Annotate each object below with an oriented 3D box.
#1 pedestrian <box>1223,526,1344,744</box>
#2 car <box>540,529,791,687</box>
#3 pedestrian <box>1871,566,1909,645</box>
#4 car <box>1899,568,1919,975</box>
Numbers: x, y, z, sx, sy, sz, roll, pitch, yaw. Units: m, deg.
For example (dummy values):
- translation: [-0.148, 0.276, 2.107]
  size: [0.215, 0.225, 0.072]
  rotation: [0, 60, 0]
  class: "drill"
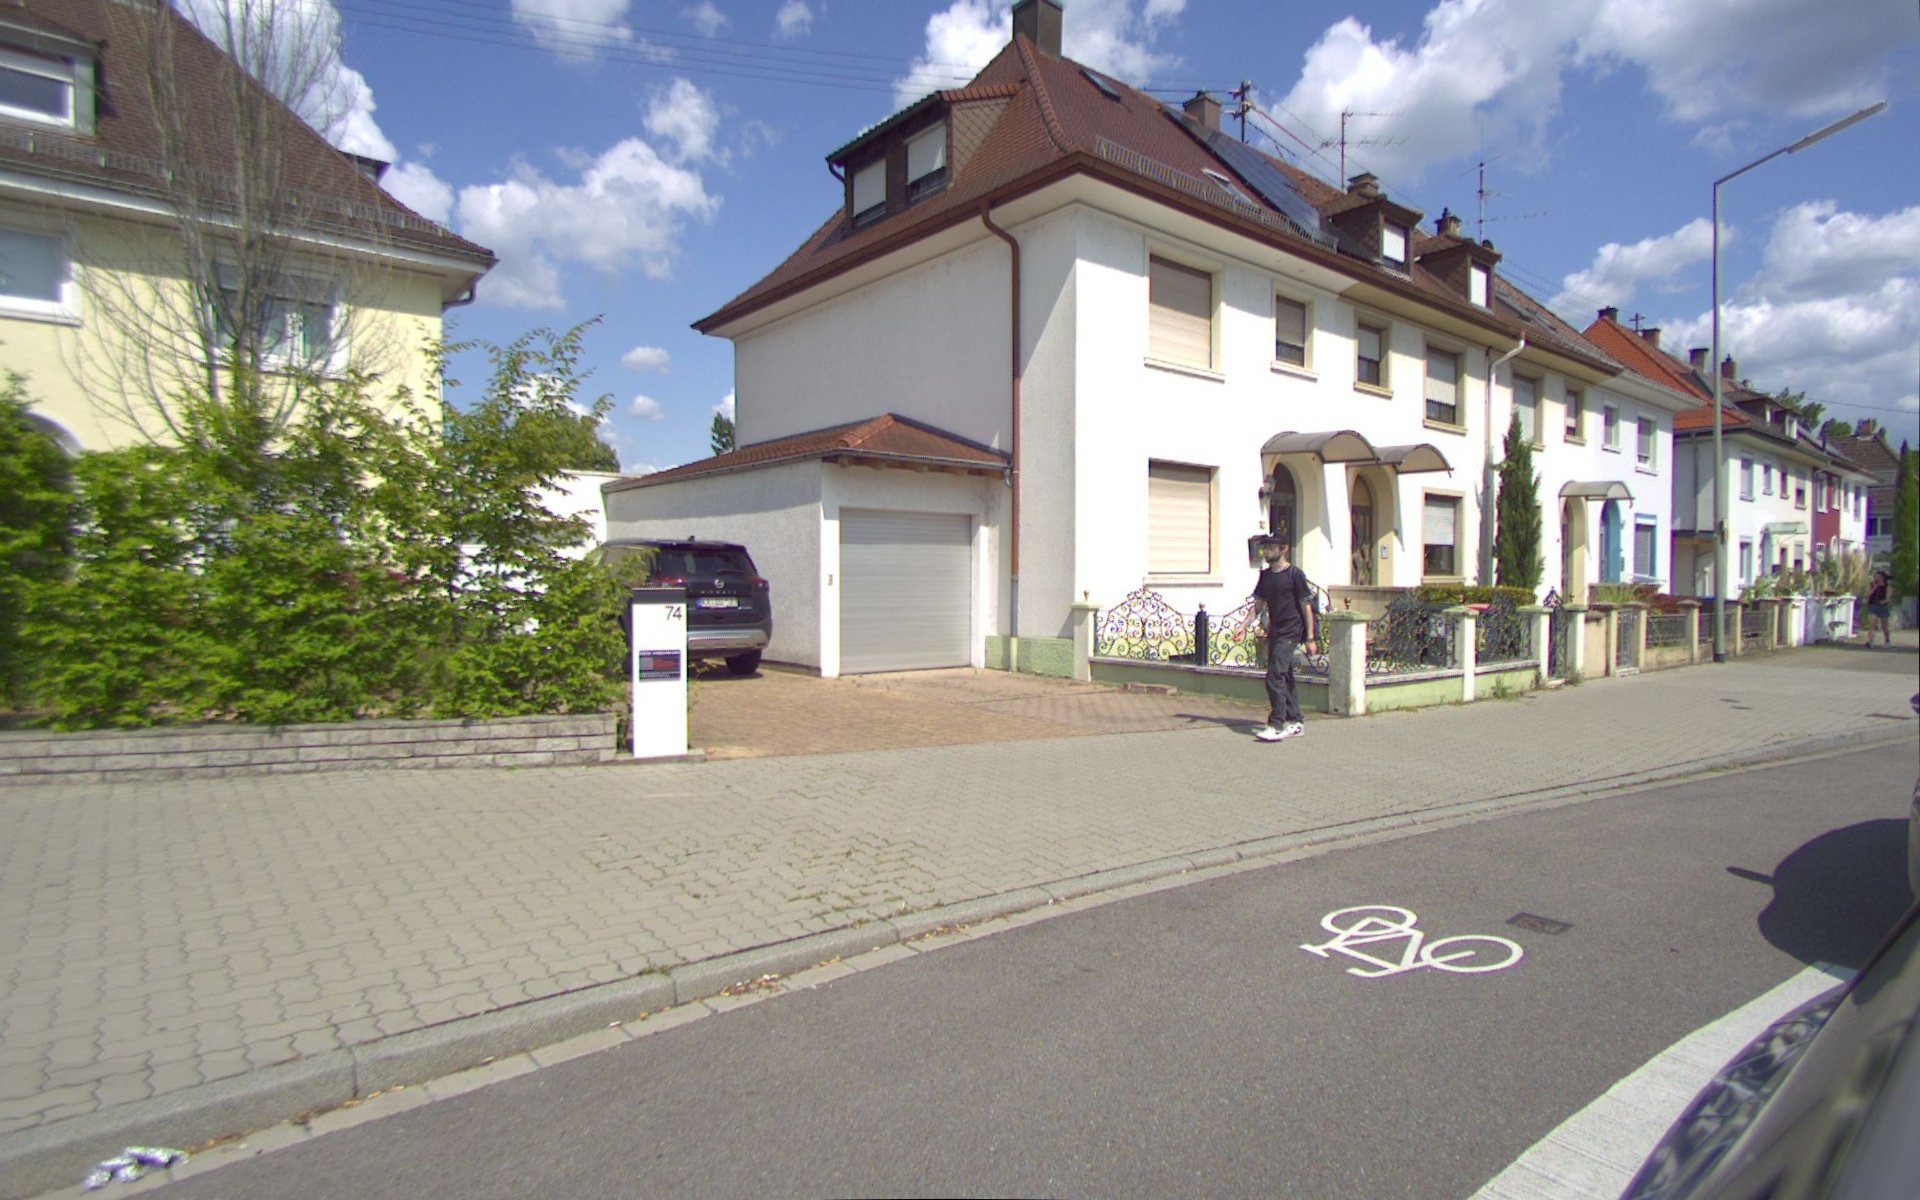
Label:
- translation: [2.773, 0.274, 8.751]
  size: [0.924, 1.790, 0.590]
  rotation: [1, 1, 15]
  class: "pedestrian"
- translation: [-3.974, 0.035, 13.204]
  size: [1.834, 1.729, 3.998]
  rotation: [0, 1, -37]
  class: "car"
- translation: [20.879, 0.114, 22.721]
  size: [0.607, 1.732, 0.519]
  rotation: [0, 1, -39]
  class: "pedestrian"
- translation: [5.762, 0.624, 4.643]
  size: [4.608, 1.492, 1.764]
  rotation: [-1, 1, -43]
  class: "car"
